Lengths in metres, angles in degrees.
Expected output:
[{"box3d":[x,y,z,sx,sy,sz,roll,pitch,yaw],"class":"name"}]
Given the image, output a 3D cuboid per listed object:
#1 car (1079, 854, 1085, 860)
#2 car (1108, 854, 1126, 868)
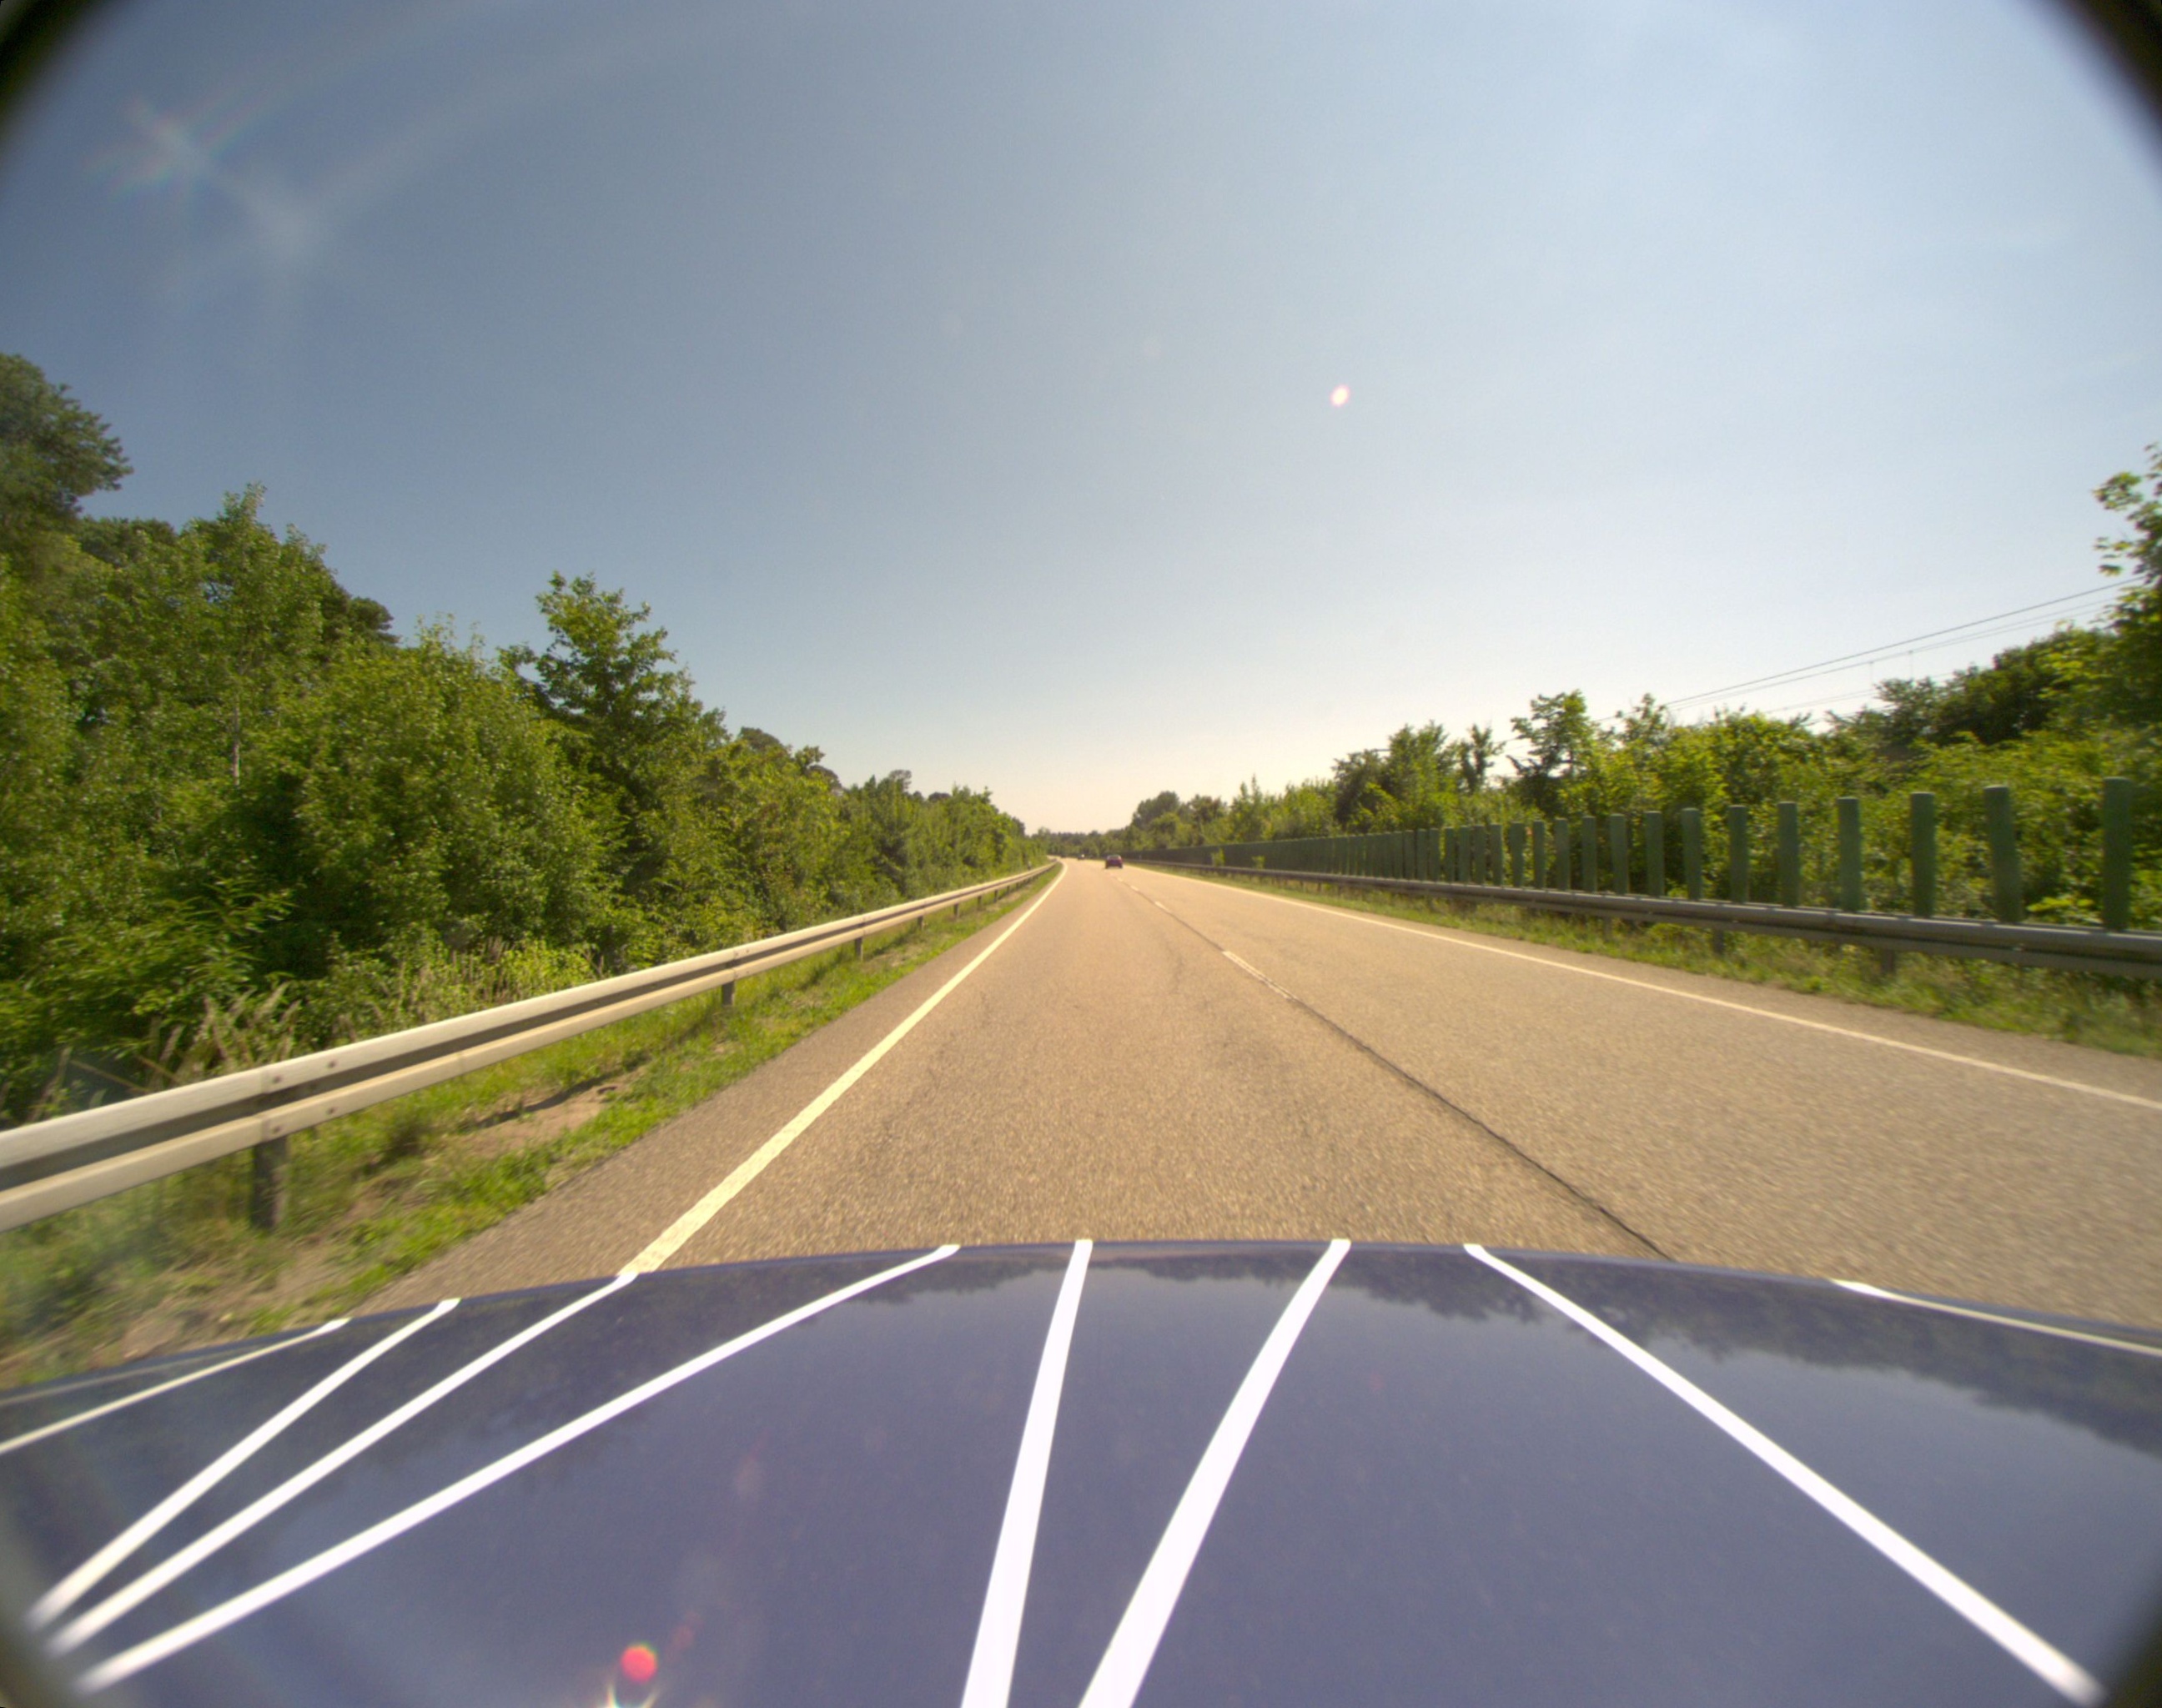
[{"box3d":[0.266,0.799,198.552,1.653,1.470,3.676,-2,0,-2],"class":"car"},{"box3d":[3.843,0.701,81.479,1.791,1.364,3.897,-2,1,3],"class":"car"}]
